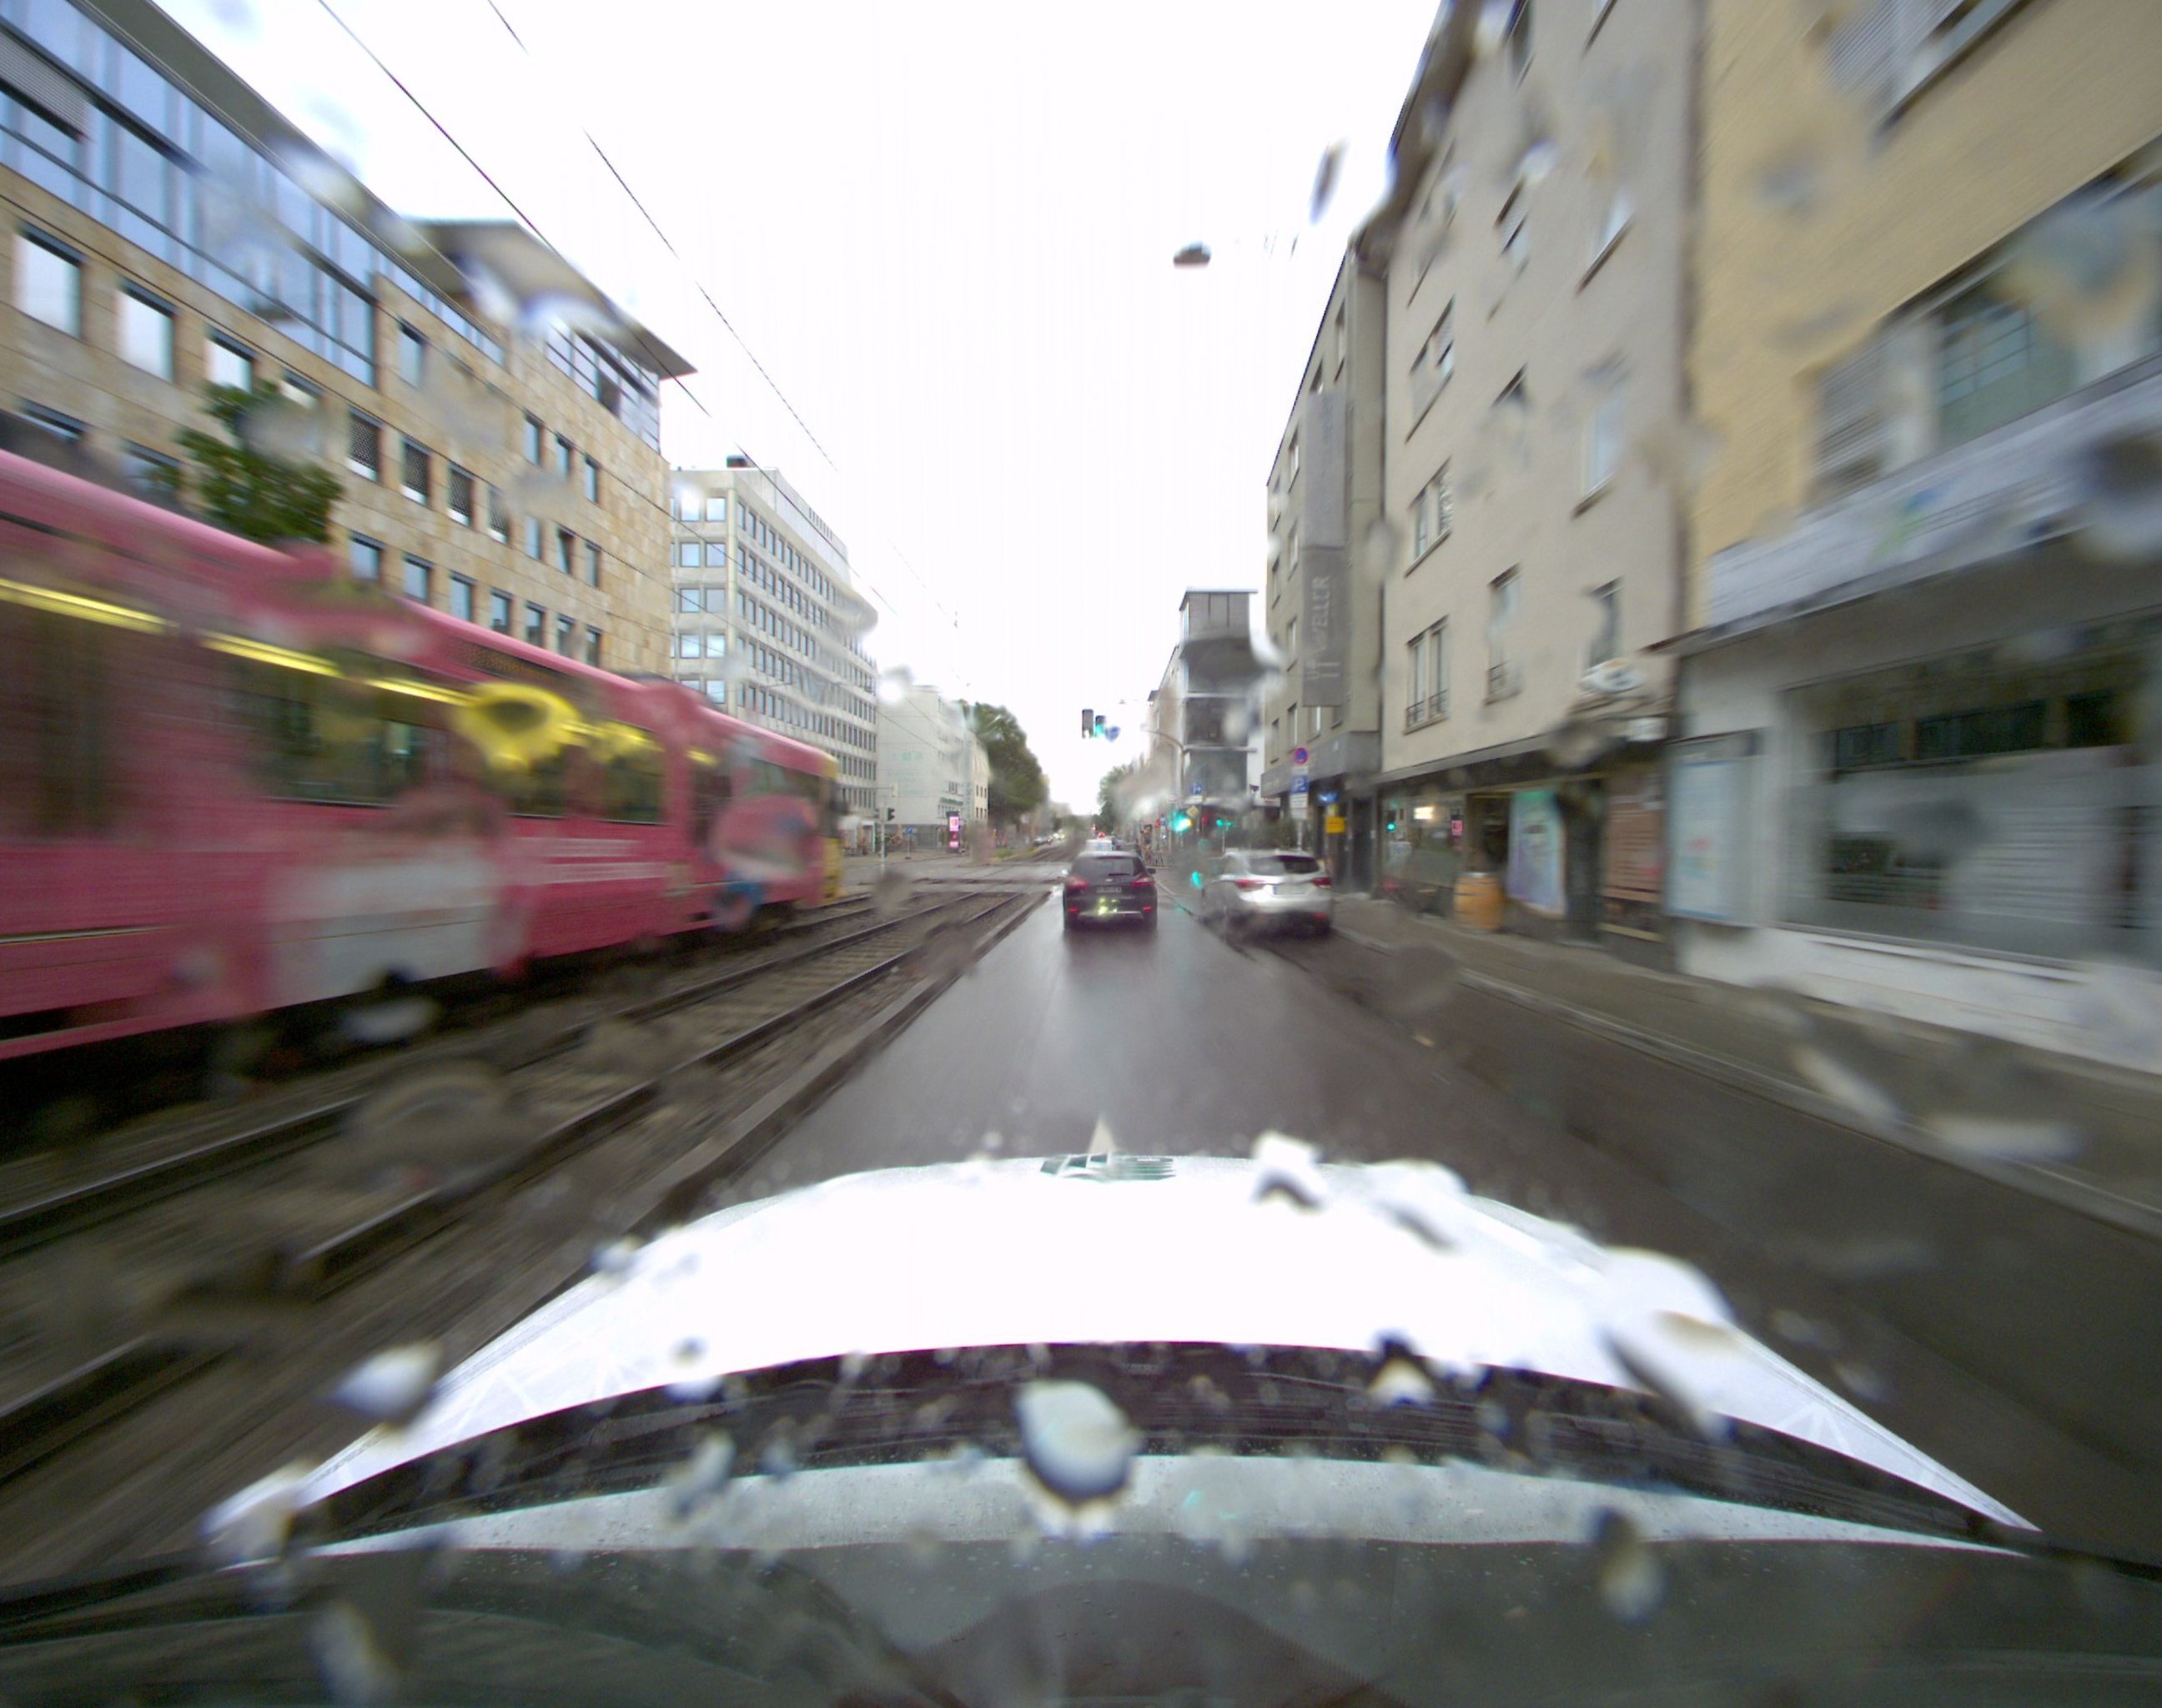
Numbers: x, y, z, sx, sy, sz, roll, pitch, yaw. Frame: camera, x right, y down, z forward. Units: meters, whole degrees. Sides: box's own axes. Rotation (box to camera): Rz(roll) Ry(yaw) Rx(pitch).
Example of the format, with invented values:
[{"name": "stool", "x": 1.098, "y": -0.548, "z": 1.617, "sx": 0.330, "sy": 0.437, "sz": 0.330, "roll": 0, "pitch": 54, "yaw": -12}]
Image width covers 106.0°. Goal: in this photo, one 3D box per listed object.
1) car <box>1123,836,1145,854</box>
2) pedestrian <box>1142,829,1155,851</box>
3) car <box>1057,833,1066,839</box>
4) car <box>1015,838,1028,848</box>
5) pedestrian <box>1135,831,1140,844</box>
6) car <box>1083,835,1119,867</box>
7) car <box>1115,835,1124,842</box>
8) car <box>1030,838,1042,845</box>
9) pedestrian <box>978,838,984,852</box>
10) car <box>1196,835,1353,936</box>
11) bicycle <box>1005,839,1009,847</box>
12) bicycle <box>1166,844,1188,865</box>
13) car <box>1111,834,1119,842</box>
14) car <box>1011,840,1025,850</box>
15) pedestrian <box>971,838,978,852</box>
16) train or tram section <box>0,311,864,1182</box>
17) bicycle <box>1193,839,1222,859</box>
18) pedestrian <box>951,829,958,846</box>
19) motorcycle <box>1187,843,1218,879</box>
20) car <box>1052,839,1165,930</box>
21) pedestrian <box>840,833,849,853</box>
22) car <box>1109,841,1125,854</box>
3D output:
[{"name": "car", "x": 5.018, "y": -0.843, "z": 77.457, "sx": 1.986, "sy": 1.593, "sz": 4.273, "roll": -1, "pitch": 1, "yaw": 2}, {"name": "pedestrian", "x": 4.927, "y": -0.991, "z": 59.490, "sx": 0.662, "sy": 1.582, "sz": 0.774, "roll": -1, "pitch": 1, "yaw": -20}, {"name": "car", "x": -5.206, "y": -4.701, "z": 218.457, "sx": 1.986, "sy": 1.519, "sz": 4.446, "roll": 0, "pitch": 0, "yaw": 2}, {"name": "car", "x": -9.972, "y": -1.836, "z": 136.553, "sx": 1.715, "sy": 1.570, "sz": 4.221, "roll": 0, "pitch": 1, "yaw": 1}, {"name": "pedestrian", "x": 9.178, "y": -2.635, "z": 131.864, "sx": 0.733, "sy": 2.013, "sz": 0.821, "roll": 0, "pitch": 2, "yaw": 0}, {"name": "car", "x": 1.213, "y": -0.194, "z": 48.590, "sx": 1.985, "sy": 1.816, "sz": 4.275, "roll": -1, "pitch": 1, "yaw": 3}, {"name": "car", "x": 8.047, "y": -3.298, "z": 172.171, "sx": 1.733, "sy": 1.488, "sz": 4.001, "roll": 0, "pitch": 2, "yaw": 1}, {"name": "car", "x": -9.127, "y": -2.565, "z": 165.006, "sx": 1.986, "sy": 1.519, "sz": 4.437, "roll": 0, "pitch": 1, "yaw": 1}, {"name": "pedestrian", "x": -13.135, "y": -1.188, "z": 107.057, "sx": 0.676, "sy": 1.895, "sz": 0.743, "roll": 0, "pitch": 1, "yaw": 1}, {"name": "car", "x": 3.445, "y": 0.479, "z": 15.436, "sx": 2.016, "sy": 1.593, "sz": 4.623, "roll": -1, "pitch": 1, "yaw": 2}, {"name": "bicycle", "x": -11.683, "y": -1.707, "z": 128.793, "sx": 0.590, "sy": 1.226, "sz": 2.399, "roll": 0, "pitch": 1, "yaw": -6}, {"name": "bicycle", "x": 6.039, "y": 0.022, "z": 51.253, "sx": 0.499, "sy": 1.258, "sz": 1.942, "roll": 0, "pitch": 1, "yaw": -23}, {"name": "car", "x": 7.341, "y": -3.517, "z": 176.998, "sx": 1.637, "sy": 1.515, "sz": 4.040, "roll": 0, "pitch": 2, "yaw": 1}, {"name": "car", "x": -10.169, "y": -1.491, "z": 131.613, "sx": 1.737, "sy": 1.468, "sz": 4.221, "roll": -2, "pitch": 1, "yaw": 1}, {"name": "pedestrian", "x": -14.023, "y": -1.210, "z": 107.222, "sx": 0.724, "sy": 1.895, "sz": 0.983, "roll": 0, "pitch": 1, "yaw": 1}, {"name": "train or tram section", "x": -6.350, "y": -0.508, "z": 7.995, "sx": 2.891, "sy": 4.050, "sz": 18.774, "roll": -1, "pitch": 0, "yaw": 1}, {"name": "bicycle", "x": 7.704, "y": -0.319, "z": 49.646, "sx": 0.580, "sy": 1.157, "sz": 1.935, "roll": -1, "pitch": 1, "yaw": -35}, {"name": "pedestrian", "x": -14.302, "y": -1.895, "z": 92.000, "sx": 0.725, "sy": 1.895, "sz": 0.688, "roll": 0, "pitch": 1, "yaw": -3}, {"name": "motorcycle", "x": 5.213, "y": 0.291, "z": 34.933, "sx": 1.137, "sy": 1.461, "sz": 0.676, "roll": -1, "pitch": 1, "yaw": -35}, {"name": "car", "x": 0.571, "y": 0.520, "z": 16.688, "sx": 1.986, "sy": 1.593, "sz": 4.273, "roll": -1, "pitch": 1, "yaw": 2}, {"name": "pedestrian", "x": -21.093, "y": -1.001, "z": 72.697, "sx": 0.563, "sy": 1.822, "sz": 0.844, "roll": 0, "pitch": 1, "yaw": -3}, {"name": "car", "x": 4.790, "y": -0.856, "z": 109.064, "sx": 1.986, "sy": 1.593, "sz": 4.574, "roll": -1, "pitch": 1, "yaw": 2}]
